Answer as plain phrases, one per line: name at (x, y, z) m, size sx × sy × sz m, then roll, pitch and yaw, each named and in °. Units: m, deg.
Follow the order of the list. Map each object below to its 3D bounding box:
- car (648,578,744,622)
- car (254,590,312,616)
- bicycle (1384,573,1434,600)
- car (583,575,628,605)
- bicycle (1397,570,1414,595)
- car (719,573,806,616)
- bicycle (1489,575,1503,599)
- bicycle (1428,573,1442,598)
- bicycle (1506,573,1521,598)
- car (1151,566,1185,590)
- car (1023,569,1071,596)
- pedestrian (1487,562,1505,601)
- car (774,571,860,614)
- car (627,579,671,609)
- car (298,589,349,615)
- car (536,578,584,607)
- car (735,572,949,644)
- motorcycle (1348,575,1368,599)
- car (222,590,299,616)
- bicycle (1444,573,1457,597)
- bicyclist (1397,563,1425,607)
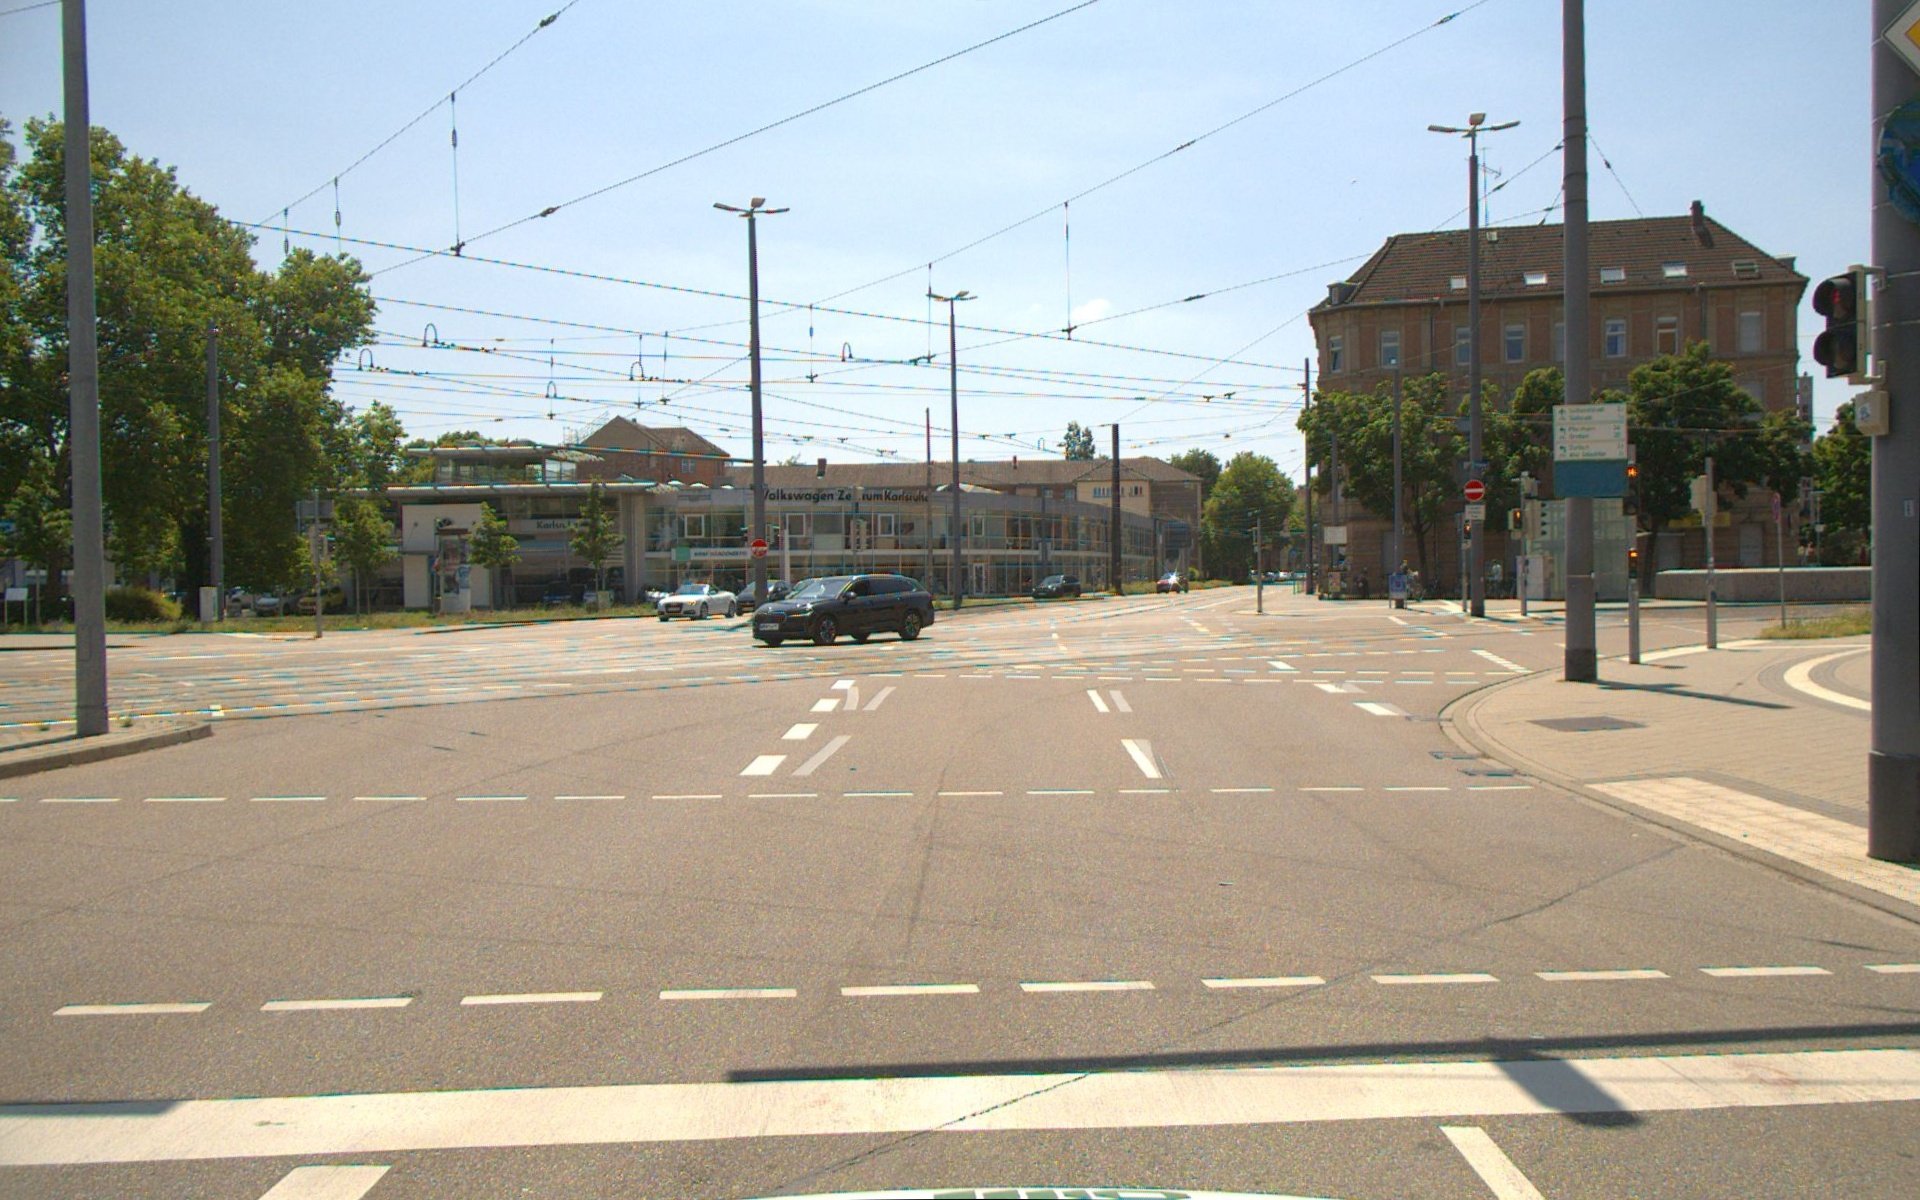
car at (-10.212, -0.038, 64.390) m, size 2.032 × 1.607 × 4.851 m, roll -1°, pitch 1°, yaw 13°
car at (-41.438, 0.173, 101.344) m, size 1.731 × 1.536 × 4.327 m, roll -1°, pitch 1°, yaw 0°
bicycle at (18.646, -0.571, 68.648) m, size 2.079 × 1.071 × 0.687 m, roll 1°, pitch 0°, yaw -26°
car at (-21.423, -0.588, 100.059) m, size 1.881 × 1.737 × 4.000 m, roll 1°, pitch 0°, yaw 0°
bicycle at (21.635, -0.832, 80.340) m, size 0.433 × 1.166 × 2.095 m, roll 1°, pitch 0°, yaw 6°
car at (-8.382, -0.265, 70.559) m, size 1.951 × 1.730 × 4.850 m, roll -1°, pitch 1°, yaw 16°
bicycle at (25.756, -0.628, 79.443) m, size 0.539 × 1.139 × 1.872 m, roll -1°, pitch 1°, yaw 15°
bicycle at (22.780, -0.701, 79.373) m, size 0.539 × 1.139 × 1.821 m, roll -1°, pitch 1°, yaw 19°
bicycle at (26.523, -0.698, 79.232) m, size 0.539 × 1.139 × 1.931 m, roll -1°, pitch 1°, yaw 15°
car at (16.176, -1.684, 128.457) m, size 1.951 × 1.807 × 4.002 m, roll 1°, pitch 0°, yaw 16°
car at (5.700, -1.172, 108.063) m, size 2.034 × 1.712 × 4.850 m, roll -1°, pitch 1°, yaw 16°
pedestrian at (23.729, -0.813, 73.225) m, size 0.456 × 1.737 × 0.633 m, roll -1°, pitch 1°, yaw -31°
car at (-5.896, -0.342, 68.726) m, size 1.951 × 1.666 × 4.850 m, roll -1°, pitch 1°, yaw 16°
car at (-18.774, -0.342, 100.001) m, size 1.881 × 1.737 × 4.000 m, roll 1°, pitch 0°, yaw 0°
car at (-38.799, 0.103, 100.929) m, size 1.733 × 1.536 × 4.322 m, roll -1°, pitch 1°, yaw -5°
car at (-24.179, -0.435, 100.100) m, size 1.881 × 1.737 × 4.000 m, roll 1°, pitch 0°, yaw 0°
car at (-2.581, 0.142, 37.297) m, size 1.965 × 1.491 × 4.817 m, roll 0°, pitch 1°, yaw 42°
motorcycle at (19.207, -0.634, 79.776) m, size 0.568 × 1.093 × 1.947 m, roll -1°, pitch 1°, yaw 3°
car at (-45.093, 0.193, 106.606) m, size 4.279 × 1.536 × 1.750 m, roll -1°, pitch 1°, yaw -36°
bicycle at (23.582, -0.715, 79.452) m, size 0.539 × 1.139 × 1.822 m, roll -1°, pitch 1°, yaw 15°
bicyclist at (18.745, -0.619, 68.692) m, size 1.047 × 1.839 × 0.475 m, roll 1°, pitch -1°, yaw -26°
